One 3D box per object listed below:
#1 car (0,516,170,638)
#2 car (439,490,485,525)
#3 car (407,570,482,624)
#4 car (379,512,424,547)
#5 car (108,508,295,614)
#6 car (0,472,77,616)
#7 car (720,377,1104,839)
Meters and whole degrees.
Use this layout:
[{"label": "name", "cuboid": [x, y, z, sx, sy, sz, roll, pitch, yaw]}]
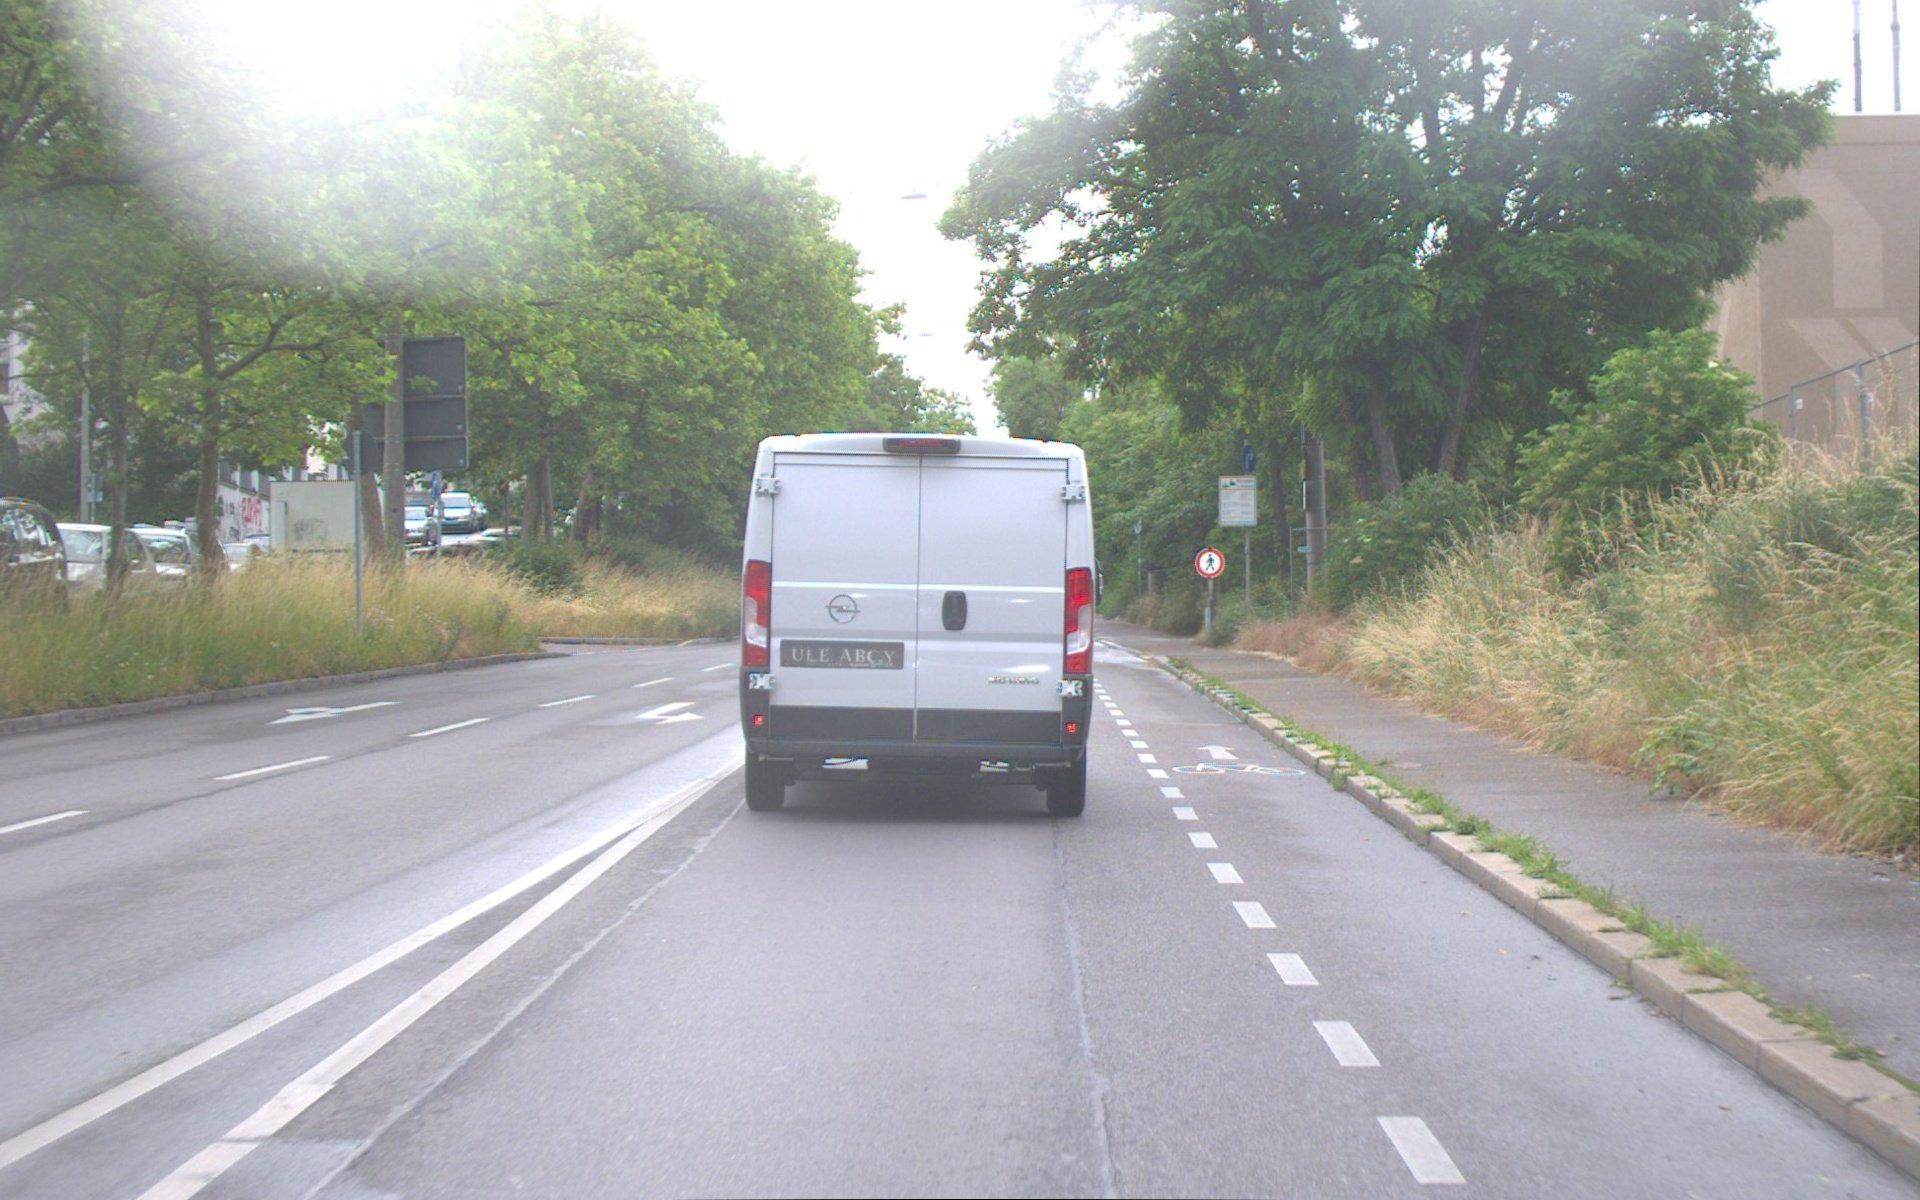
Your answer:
[{"label": "car", "cuboid": [-10.921, -0.252, 42.798, 1.360, 1.390, 3.707, 0, -2, -1]}, {"label": "car", "cuboid": [-20.371, -3.774, 140.687, 1.599, 1.246, 2.911, 0, -2, -3]}, {"label": "car", "cuboid": [-11.475, -0.061, 76.608, 1.350, 1.127, 2.753, 0, -2, -2]}, {"label": "car", "cuboid": [-20.179, -2.540, 124.287, 1.213, 1.129, 2.452, -1, -2, 0]}, {"label": "car", "cuboid": [-10.548, -0.514, 48.068, 1.537, 1.289, 4.544, -1, -2, 1]}, {"label": "car", "cuboid": [-11.023, -0.590, 37.916, 1.653, 1.447, 3.645, 0, -2, -1]}, {"label": "car", "cuboid": [-0.326, -0.017, 21.861, 2.050, 2.508, 4.944, 3, 1, -1]}]
